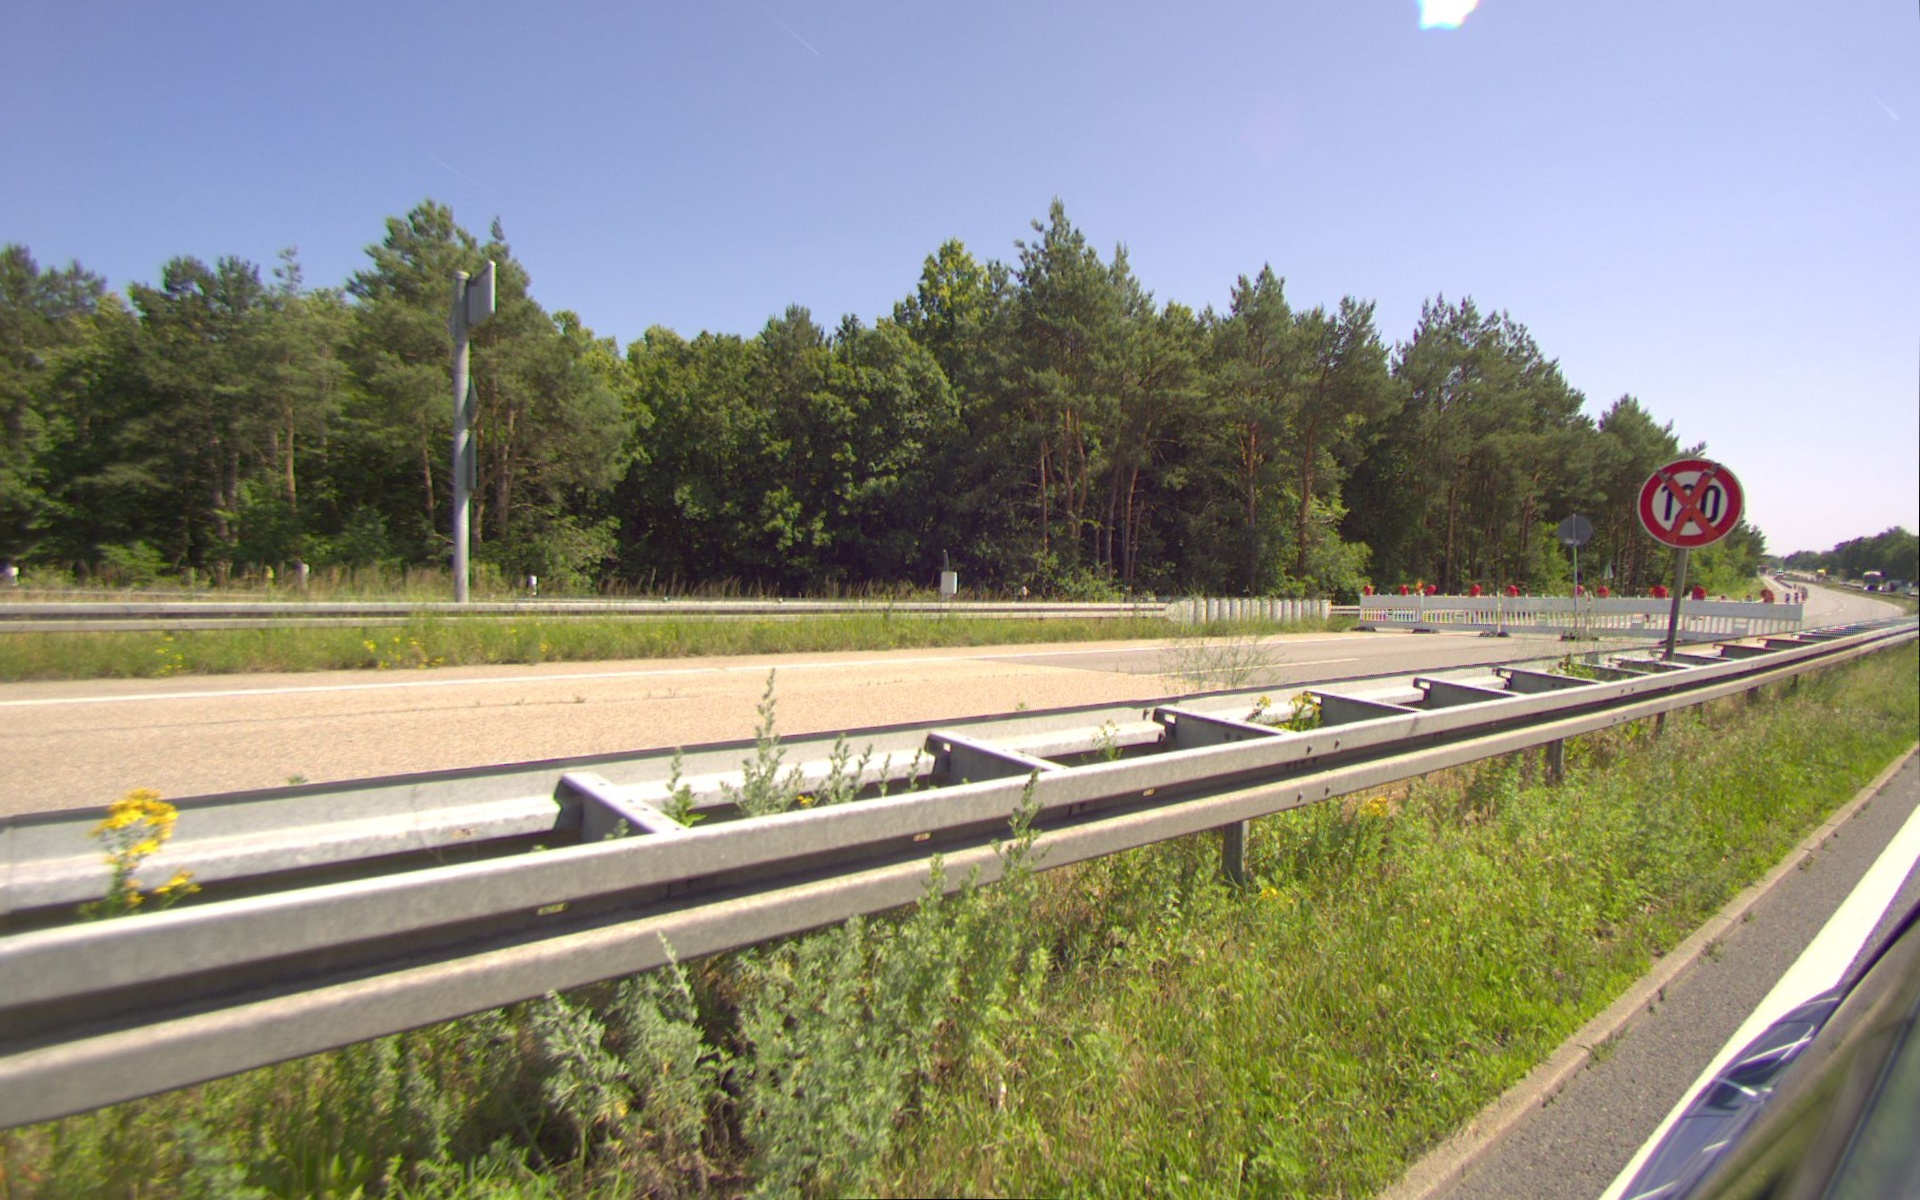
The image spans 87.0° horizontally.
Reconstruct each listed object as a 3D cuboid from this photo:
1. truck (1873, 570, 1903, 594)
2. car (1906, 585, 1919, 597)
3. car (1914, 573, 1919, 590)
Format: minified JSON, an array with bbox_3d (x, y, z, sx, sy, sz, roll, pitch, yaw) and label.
[{"bbox_3d":[173.326,-3.257,188.939,3.820,4.344,11.068,1,1,44],"label":"truck"},{"bbox_3d":[139.623,-1.282,148.132,1.522,1.677,3.922,1,1,41],"label":"car"},{"bbox_3d":[107.502,-2.023,112.505,1.994,1.805,3.936,2,1,44],"label":"car"}]
